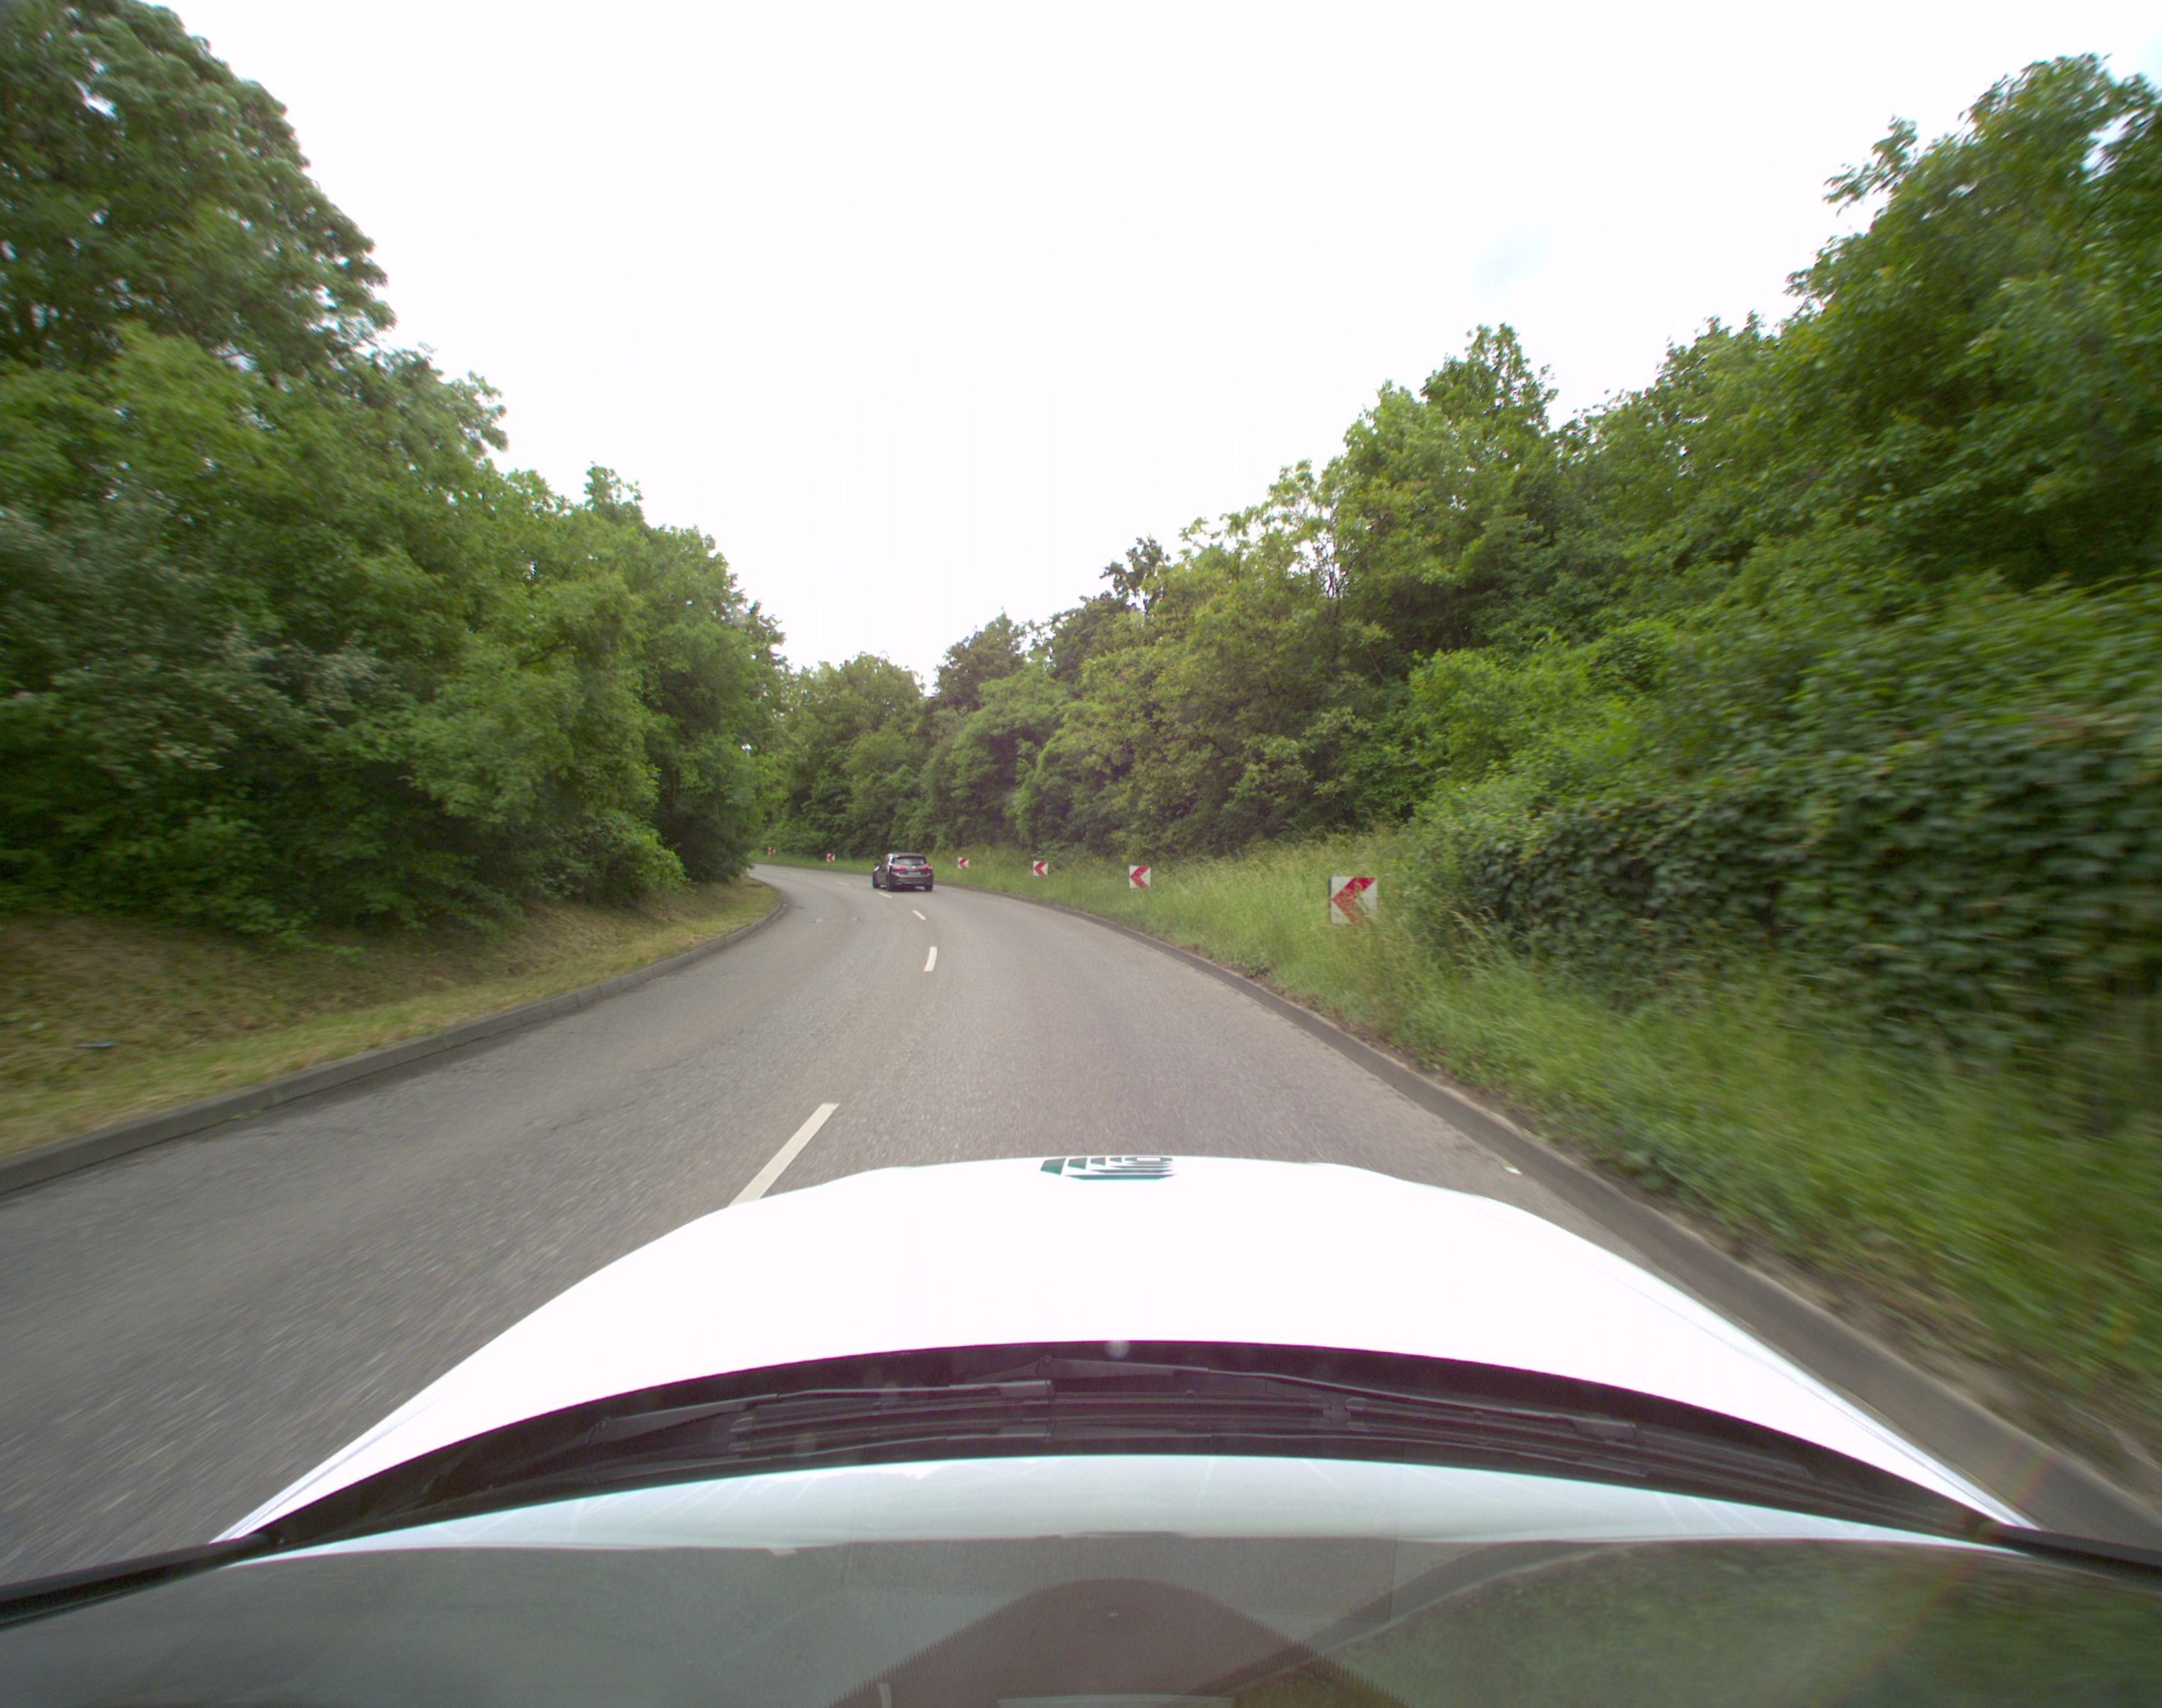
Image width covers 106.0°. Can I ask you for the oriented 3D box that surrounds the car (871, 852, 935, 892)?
[{"bbox_3d":[-7.375,0.691,33.479,1.848,1.483,3.969,-1,1,-24],"label":"car"}]
